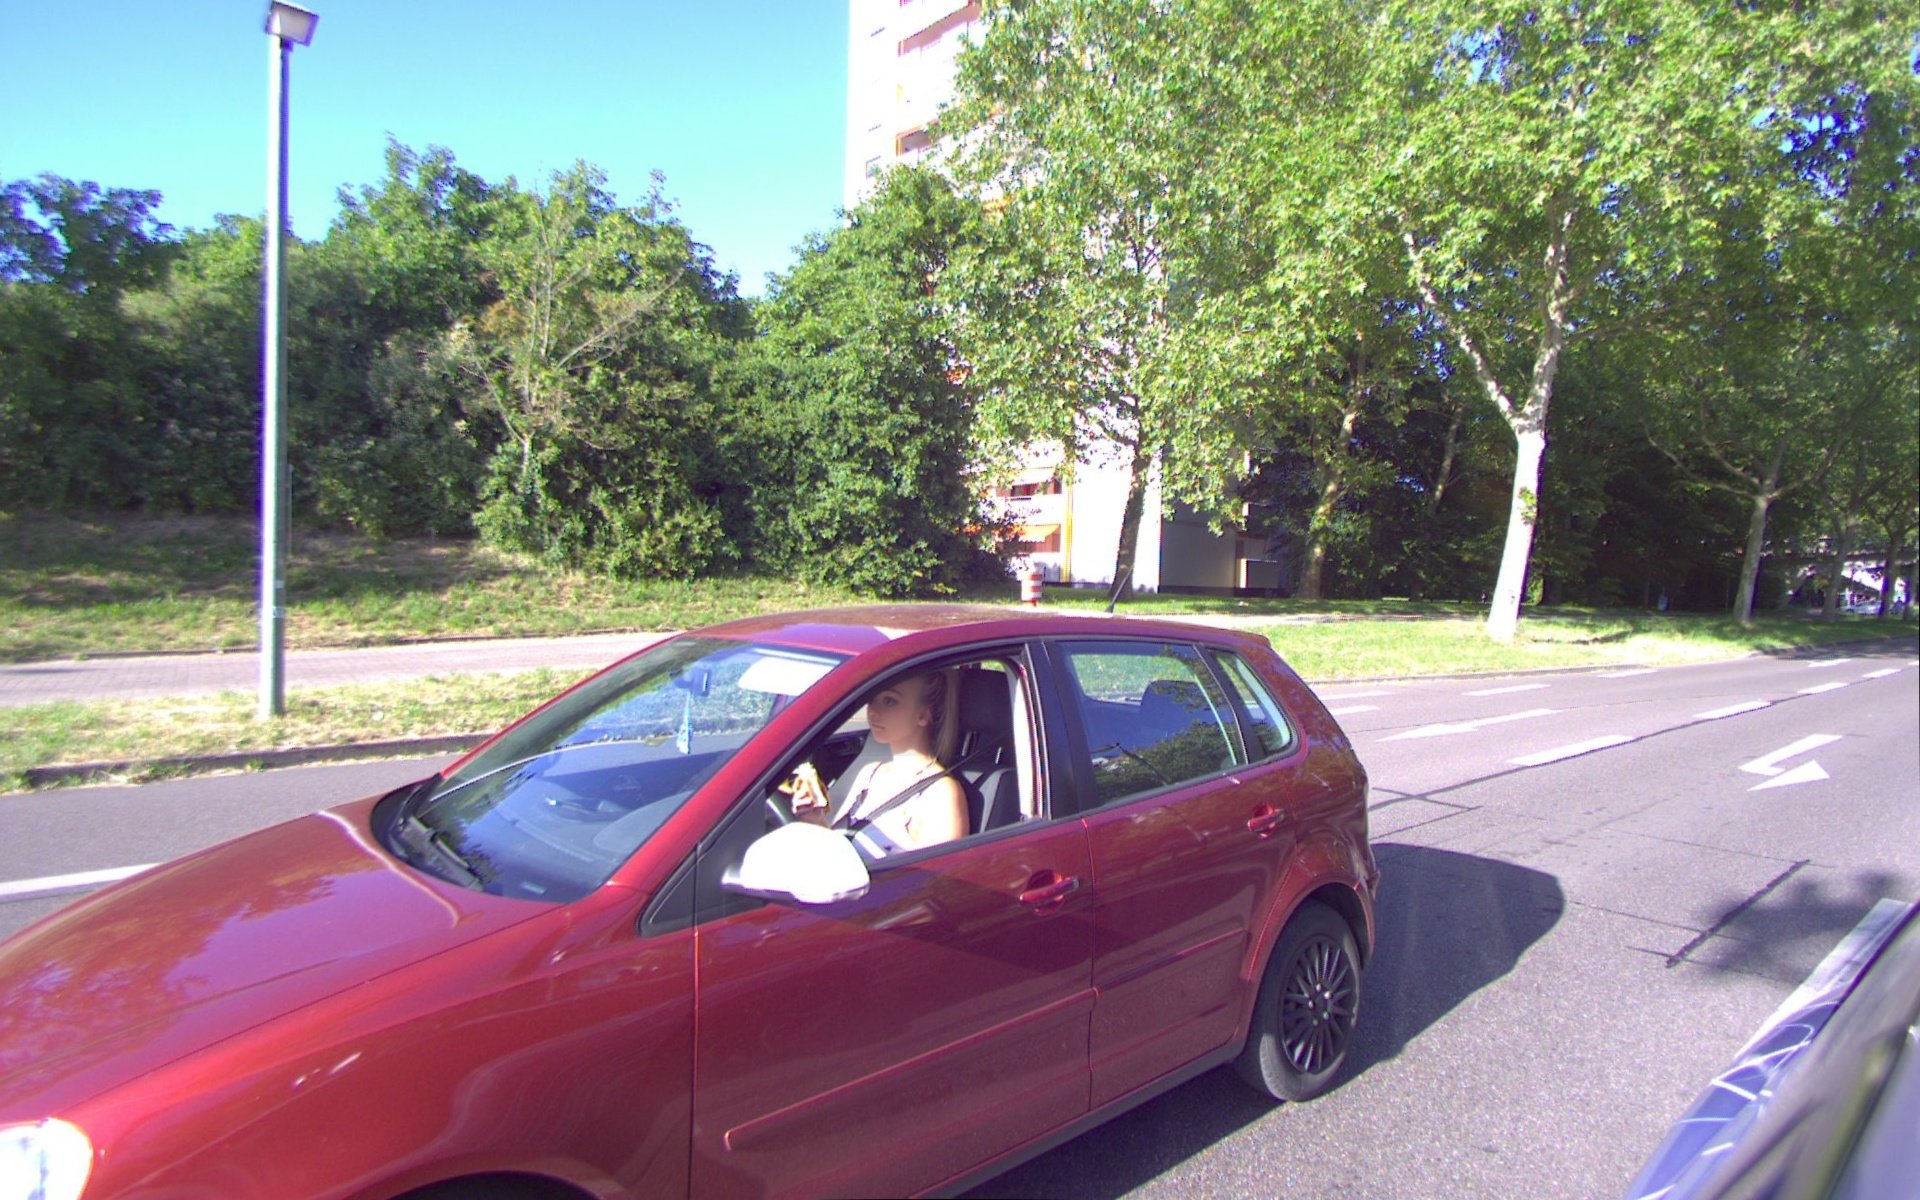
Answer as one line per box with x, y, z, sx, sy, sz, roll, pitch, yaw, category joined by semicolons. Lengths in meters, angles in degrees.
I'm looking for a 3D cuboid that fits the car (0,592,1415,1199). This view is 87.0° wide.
-0.447;0.719;2.776;3.694;1.456;1.645;-1;1;-40;car

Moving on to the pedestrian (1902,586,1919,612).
75.297;-0.045;79.932;0.943;2.039;0.920;0;0;-5;pedestrian

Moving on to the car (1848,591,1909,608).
82.038;-0.009;90.419;3.983;1.493;1.772;0;0;42;car
